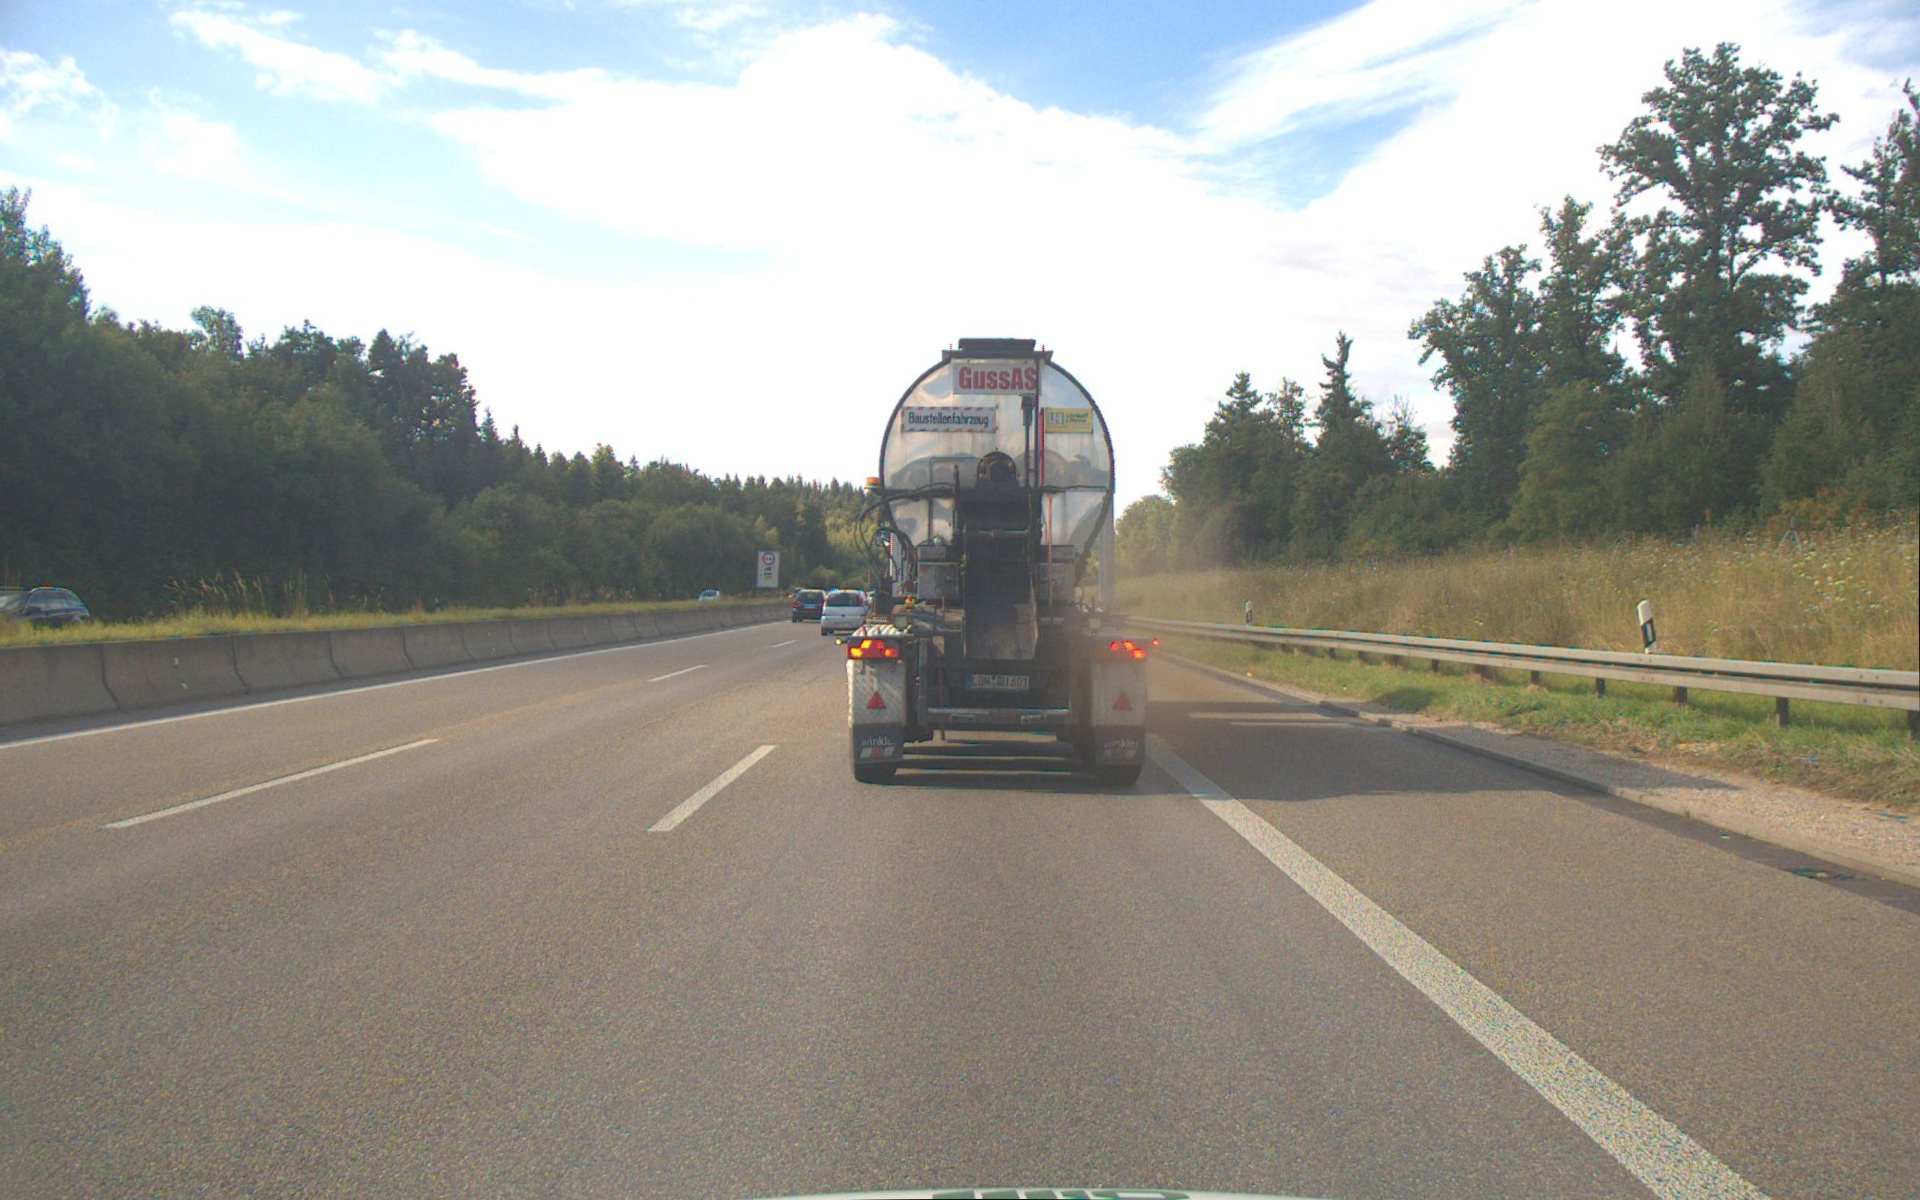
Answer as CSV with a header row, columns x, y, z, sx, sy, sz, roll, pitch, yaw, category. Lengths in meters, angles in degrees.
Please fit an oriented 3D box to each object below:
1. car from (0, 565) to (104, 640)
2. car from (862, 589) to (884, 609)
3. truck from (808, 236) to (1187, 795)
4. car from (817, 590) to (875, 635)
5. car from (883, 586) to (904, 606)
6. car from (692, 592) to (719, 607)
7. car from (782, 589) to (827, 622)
x,y,z,sx,sy,sz,roll,pitch,yaw,category
-22.199,0.045,38.844,1.841,1.656,4.569,0,0,-1,car
-6.965,-0.099,132.089,1.585,1.572,3.519,1,0,-1,car
0.313,-0.665,18.207,2.853,4.230,11.269,0,0,0,truck
-4.094,0.431,60.142,1.798,1.544,4.333,0,0,0,car
-6.145,-0.339,153.103,1.808,1.814,3.999,0,0,-1,car
-21.870,-0.044,142.422,1.779,1.313,3.544,0,0,0,car
-7.646,0.251,81.743,1.798,1.544,4.333,0,0,0,car
